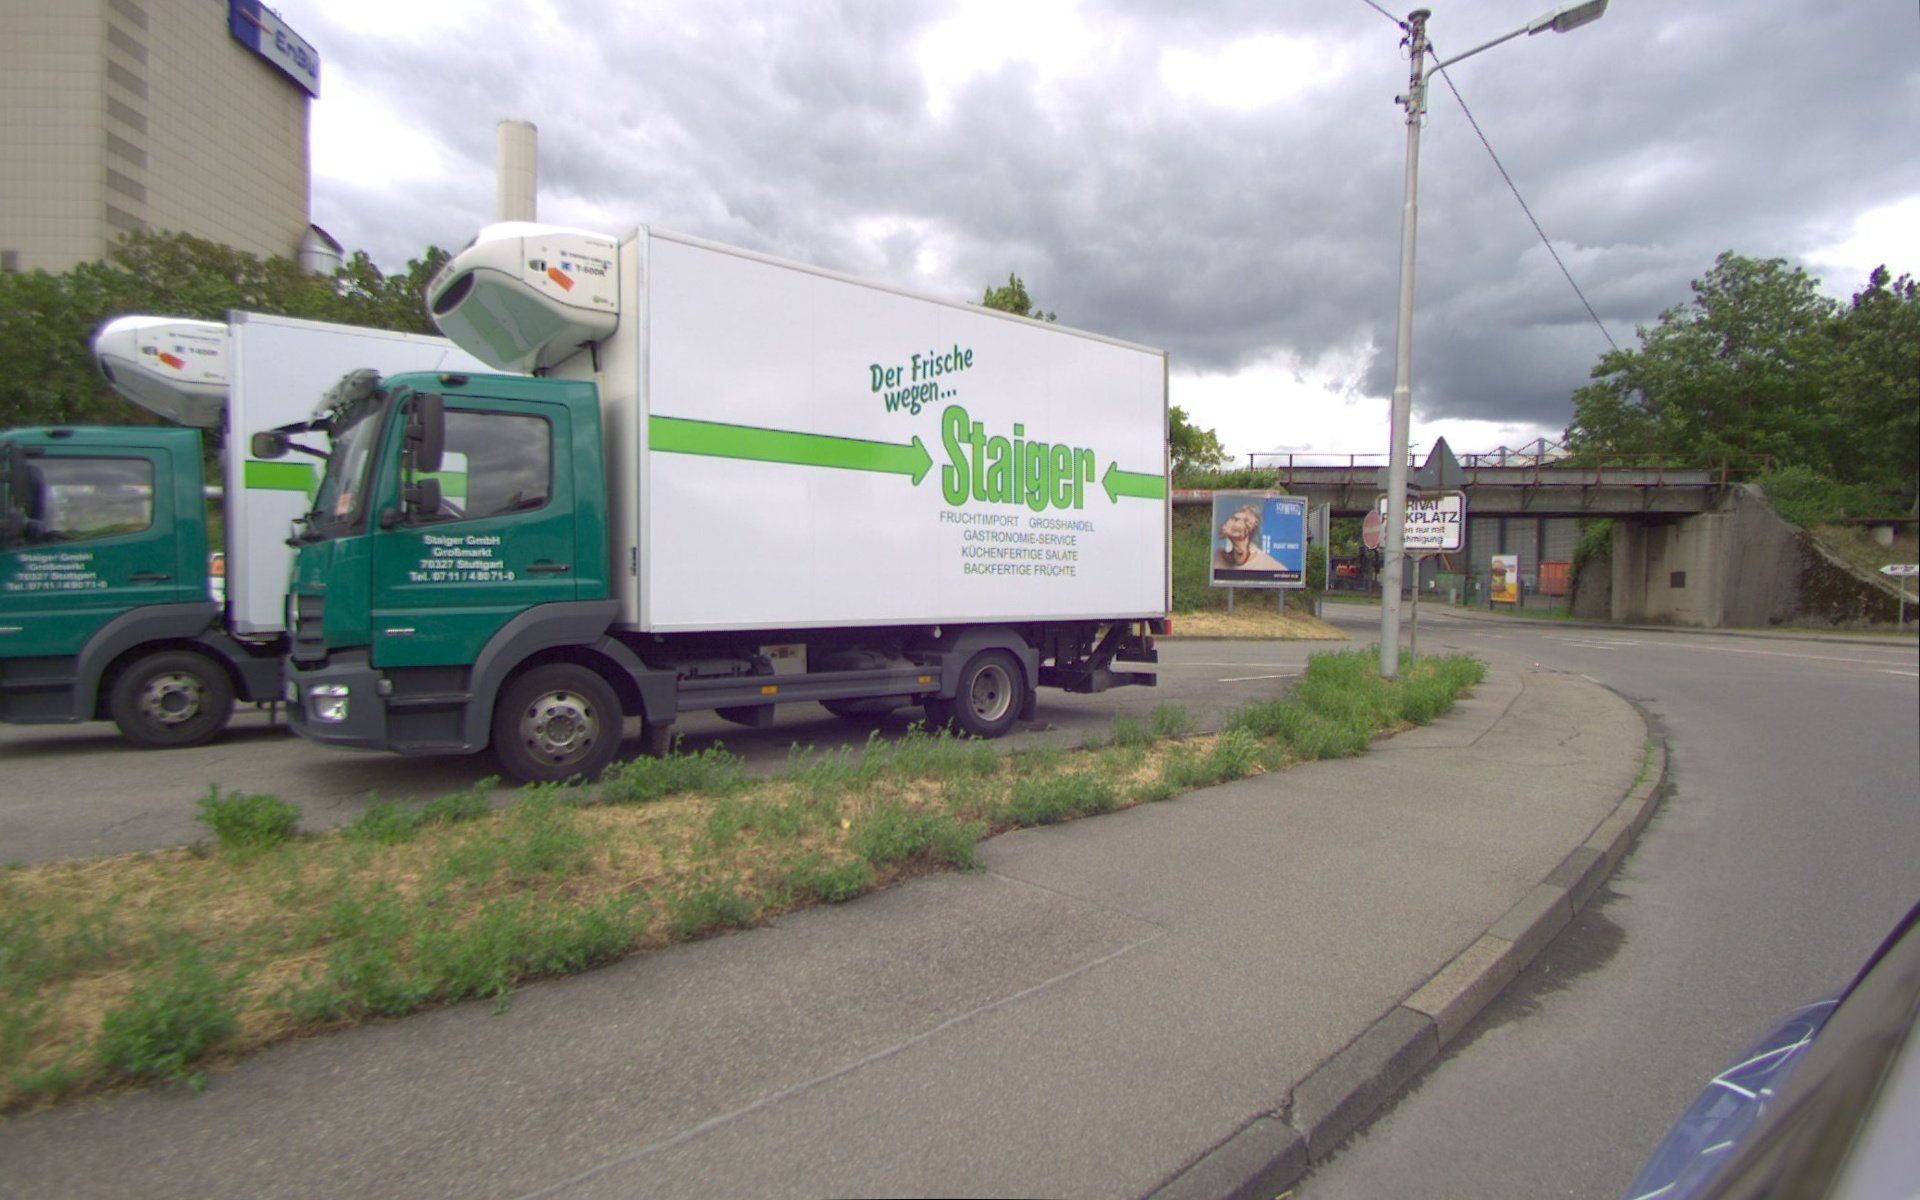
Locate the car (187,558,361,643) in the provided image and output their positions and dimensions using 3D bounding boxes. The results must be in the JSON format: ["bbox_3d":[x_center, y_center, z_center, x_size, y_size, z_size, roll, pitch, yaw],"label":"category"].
[{"bbox_3d":[-18.232,-0.034,27.155,1.962,2.076,4.000,1,1,0],"label":"car"}]

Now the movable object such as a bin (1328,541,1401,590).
[{"bbox_3d":[36.076,-3.004,90.521,2.677,4.142,6.566,1,1,-13],"label":"movable object such as a bin"}]

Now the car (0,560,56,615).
[{"bbox_3d":[-28.071,-0.361,28.337,1.962,1.549,4.000,0,0,0],"label":"car"}]

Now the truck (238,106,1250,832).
[{"bbox_3d":[-1.149,-0.710,9.058,8.454,3.677,3.068,-1,0,-41],"label":"truck"}]

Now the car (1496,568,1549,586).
[{"bbox_3d":[45.386,-1.867,81.717,1.703,1.391,4.005,1,2,-5],"label":"car"}]

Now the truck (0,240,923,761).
[{"bbox_3d":[-4.711,-0.697,10.752,8.450,3.678,3.068,-1,-2,-39],"label":"truck"}]
